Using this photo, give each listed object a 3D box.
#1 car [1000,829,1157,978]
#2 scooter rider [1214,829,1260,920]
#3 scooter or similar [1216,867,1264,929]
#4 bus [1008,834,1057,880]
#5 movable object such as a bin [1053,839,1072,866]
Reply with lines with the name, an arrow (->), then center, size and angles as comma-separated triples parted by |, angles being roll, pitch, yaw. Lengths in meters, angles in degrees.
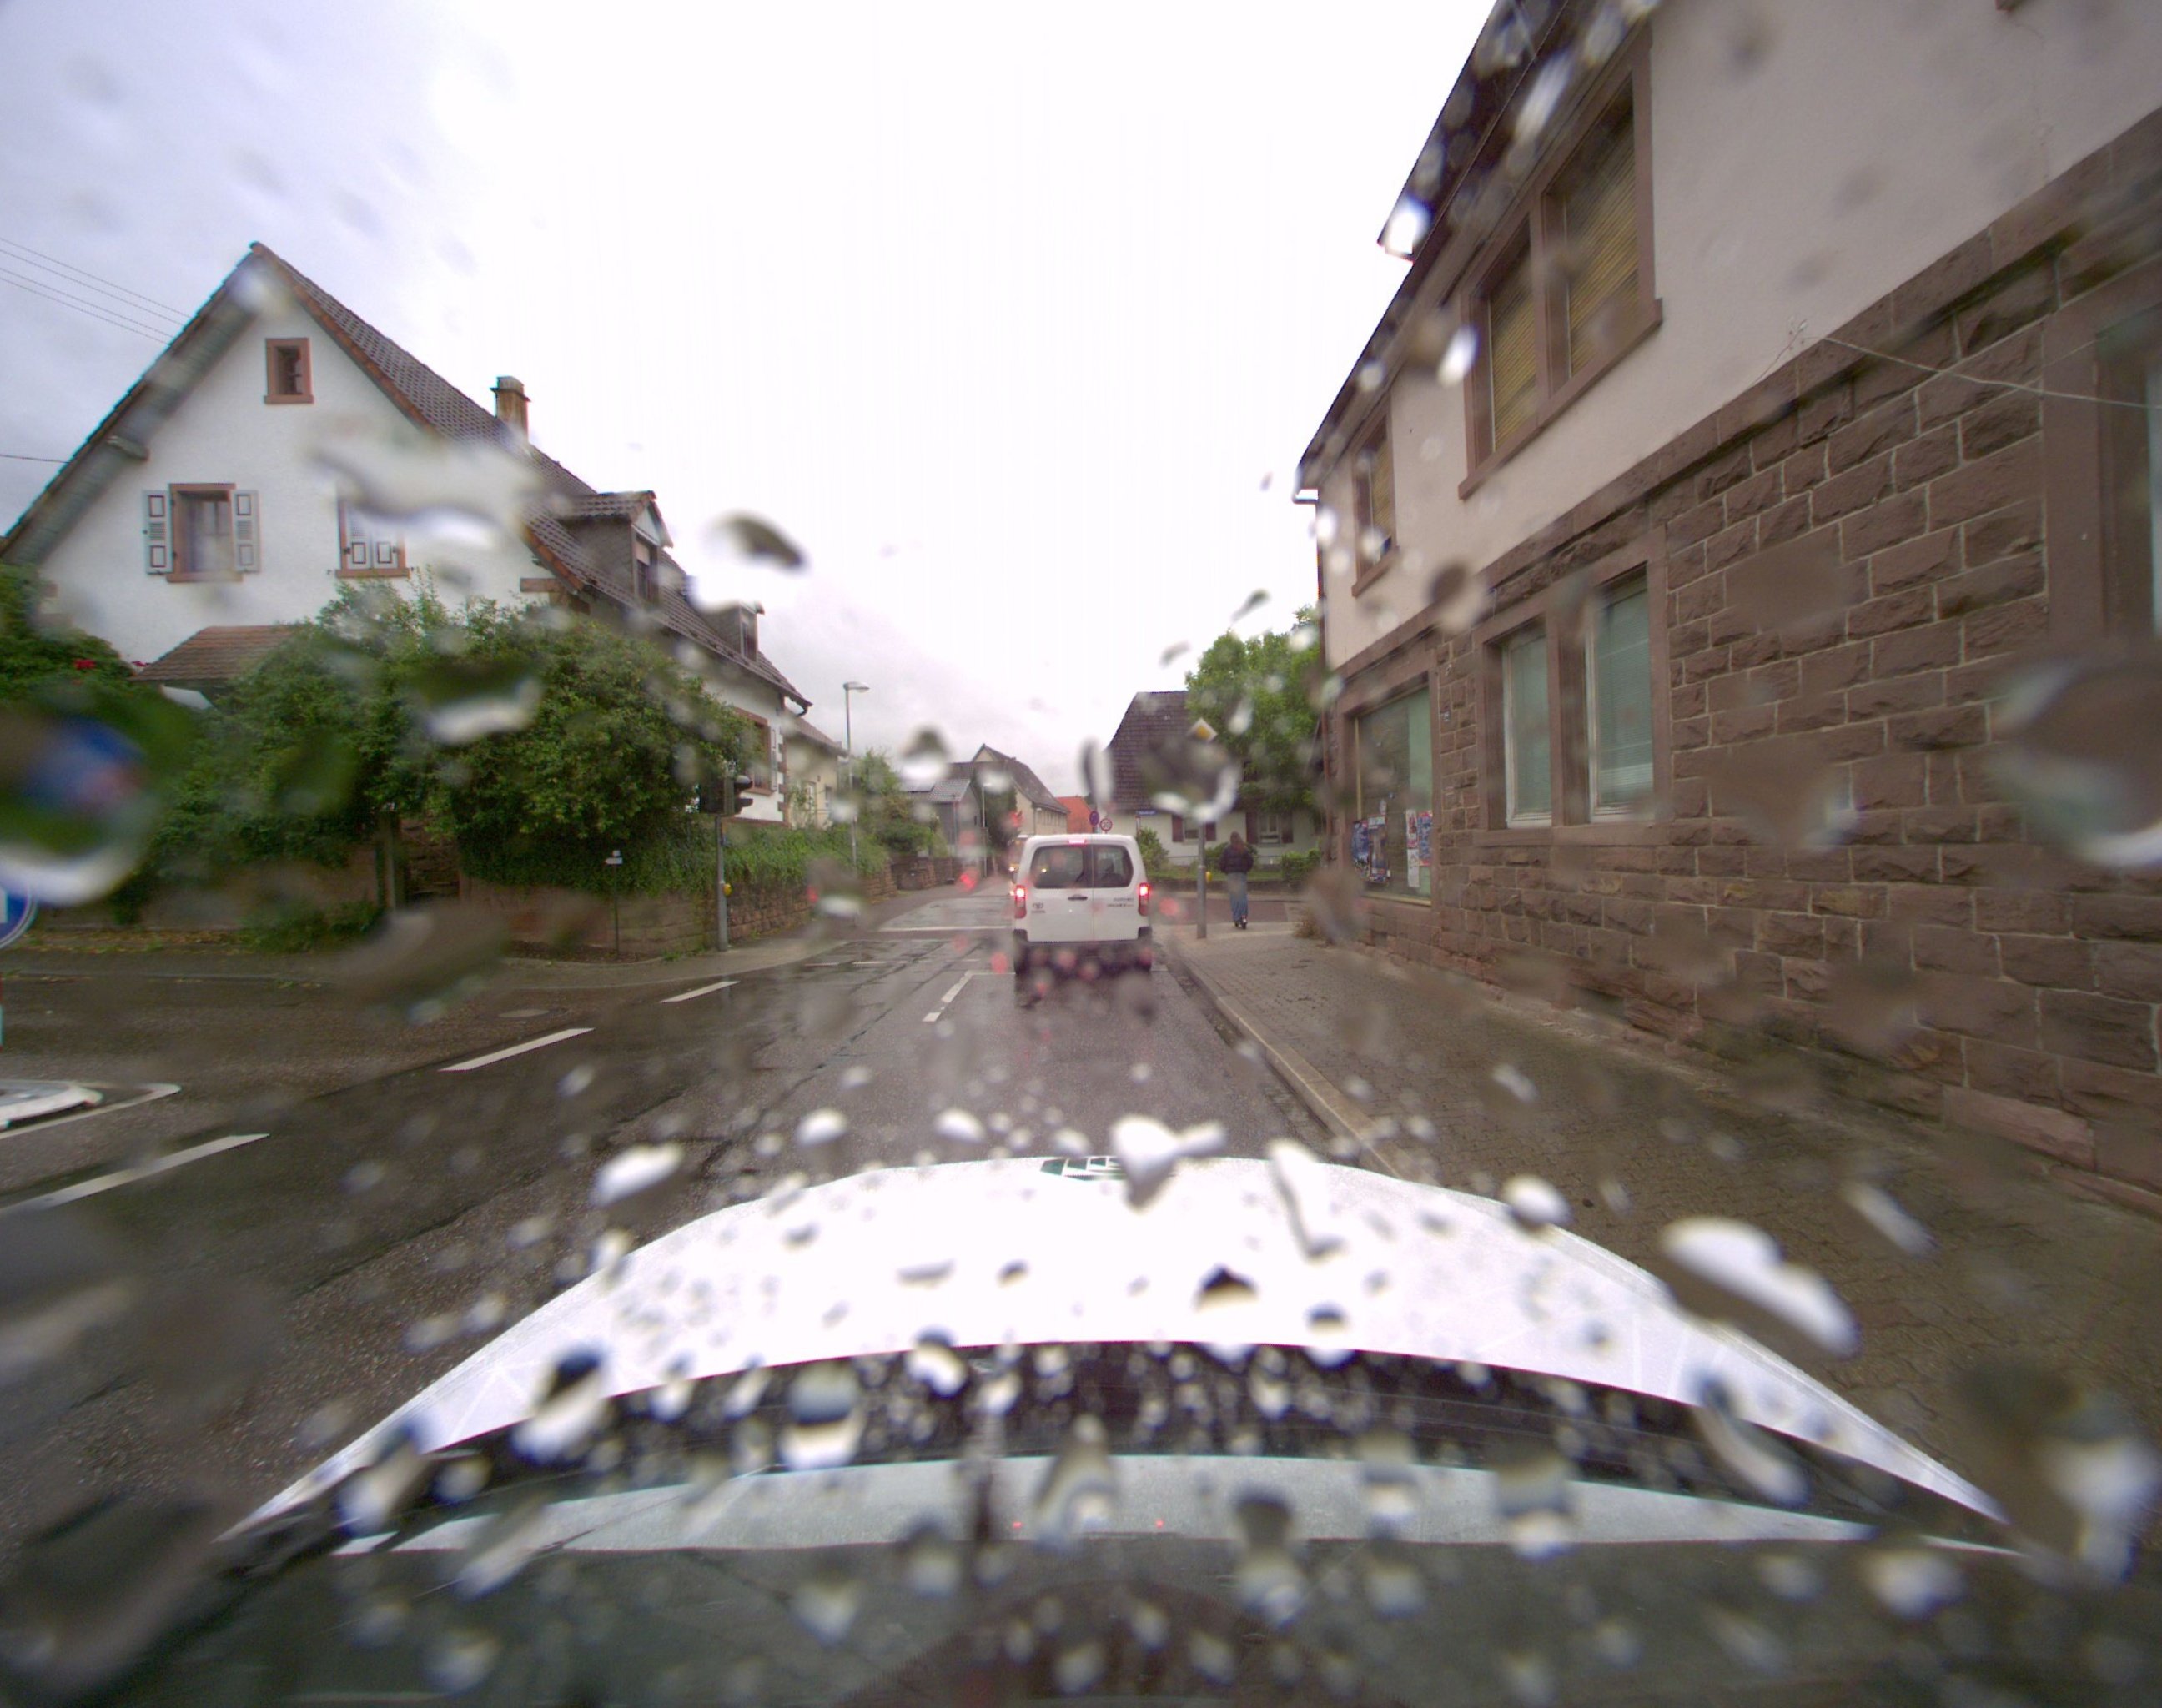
car -> -0.049, 0.590, 11.760 | 1.889, 1.794, 3.812 | 0, 0, -1
scooter rider -> 3.043, 0.404, 15.928 | 0.729, 1.733, 0.518 | -1, -1, -1
scooter or similar -> 3.063, 0.829, 15.802 | 0.618, 1.127, 1.401 | -1, -1, -1
bus -> -3.430, 0.041, 60.300 | 2.640, 2.999, 12.196 | -1, 2, 1
movable object such as a bin -> -1.833, -0.144, 81.741 | 1.720, 2.653, 3.976 | 0, 0, 2
